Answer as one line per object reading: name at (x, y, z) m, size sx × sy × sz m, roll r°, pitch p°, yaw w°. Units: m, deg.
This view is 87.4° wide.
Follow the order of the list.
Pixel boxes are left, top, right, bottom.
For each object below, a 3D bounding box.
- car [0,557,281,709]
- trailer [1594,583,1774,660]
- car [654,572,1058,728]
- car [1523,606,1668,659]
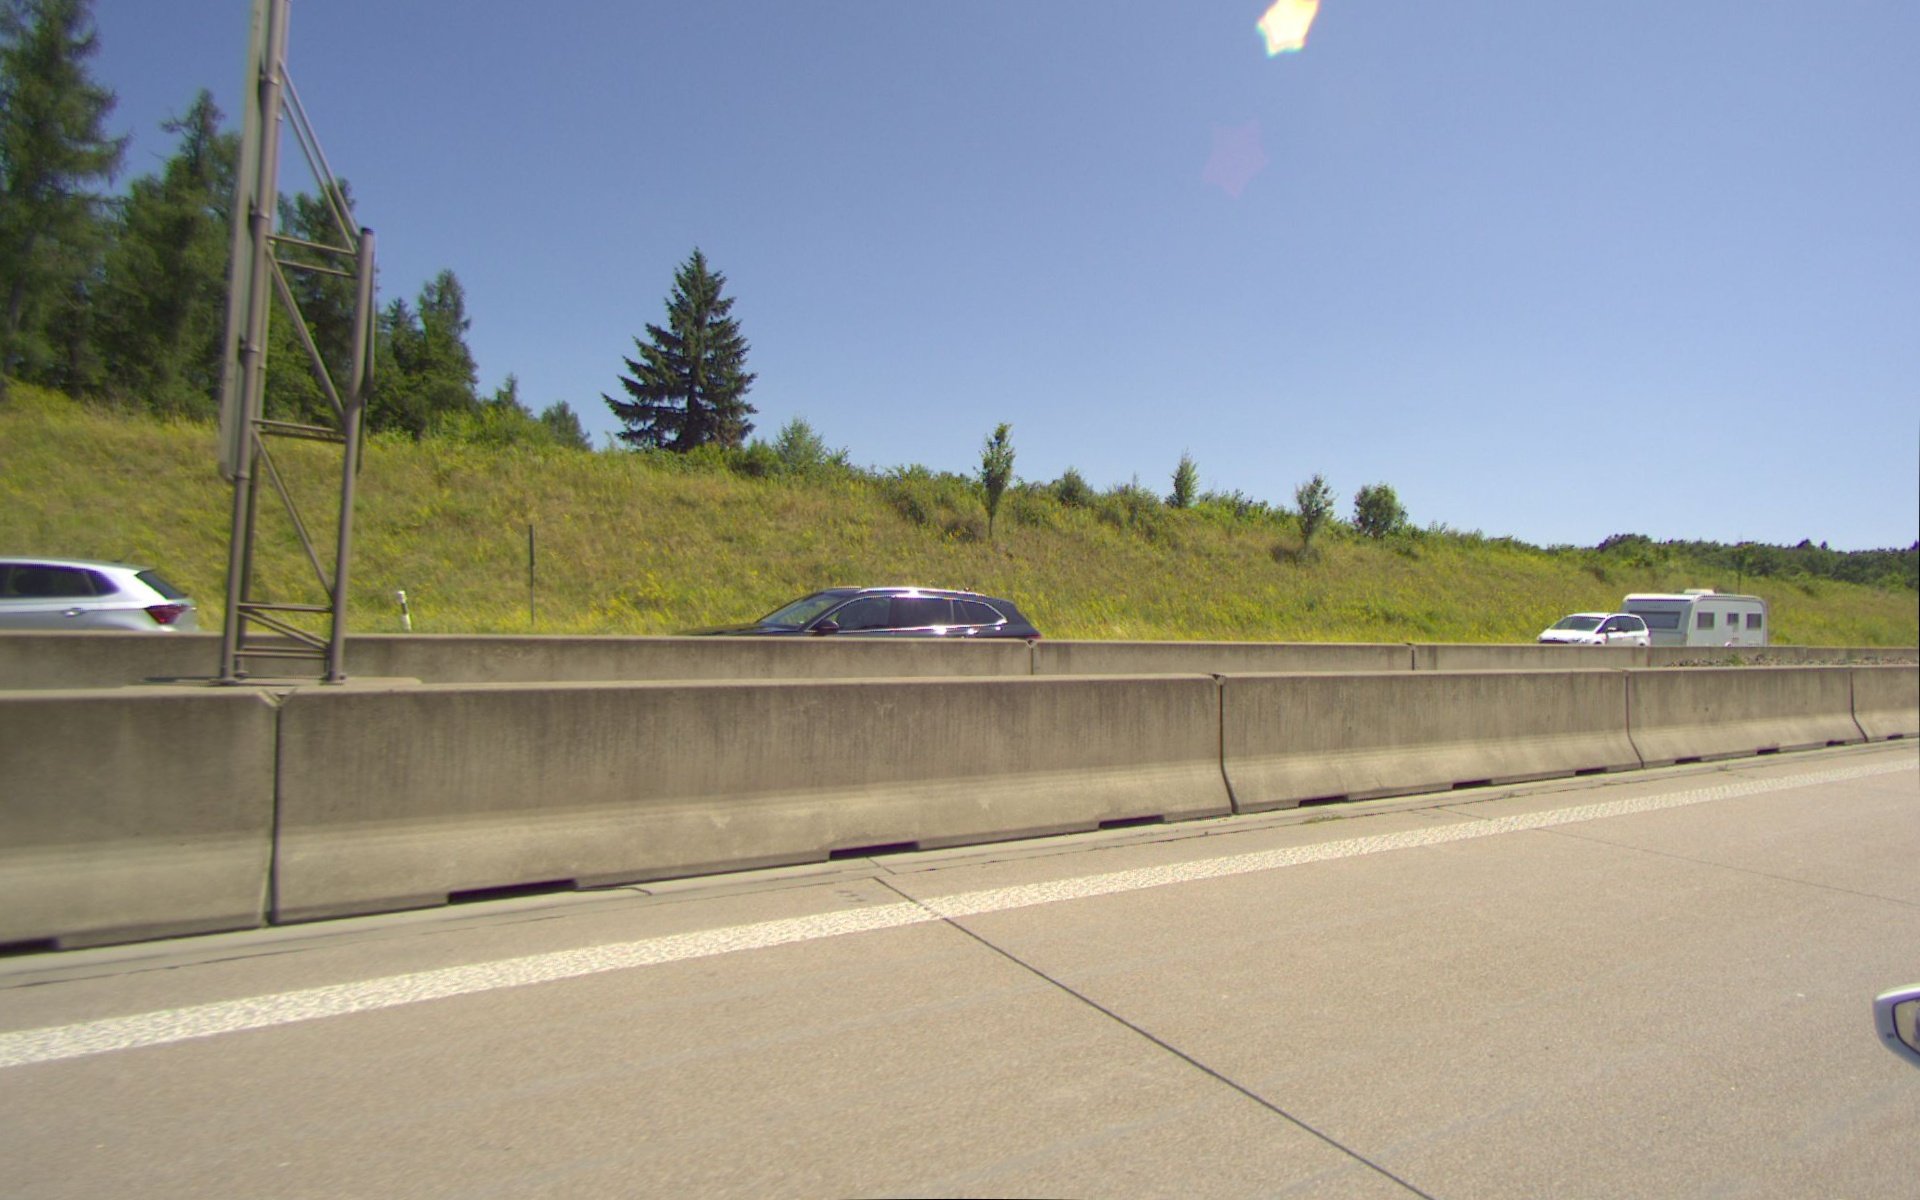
car at (-10.457, 0.323, 11.342) m, size 4.446 × 1.579 × 1.984 m, roll 2°, pitch 1°, yaw -31°
trailer at (27.382, 0.835, 37.886) m, size 7.690 × 2.666 × 2.593 m, roll 2°, pitch 0°, yaw -31°
car at (-1.210, 0.542, 12.185) m, size 4.446 × 1.579 × 1.984 m, roll 2°, pitch 1°, yaw -31°
car at (21.815, 1.119, 34.418) m, size 5.311 × 1.682 × 1.984 m, roll 2°, pitch 0°, yaw -31°
